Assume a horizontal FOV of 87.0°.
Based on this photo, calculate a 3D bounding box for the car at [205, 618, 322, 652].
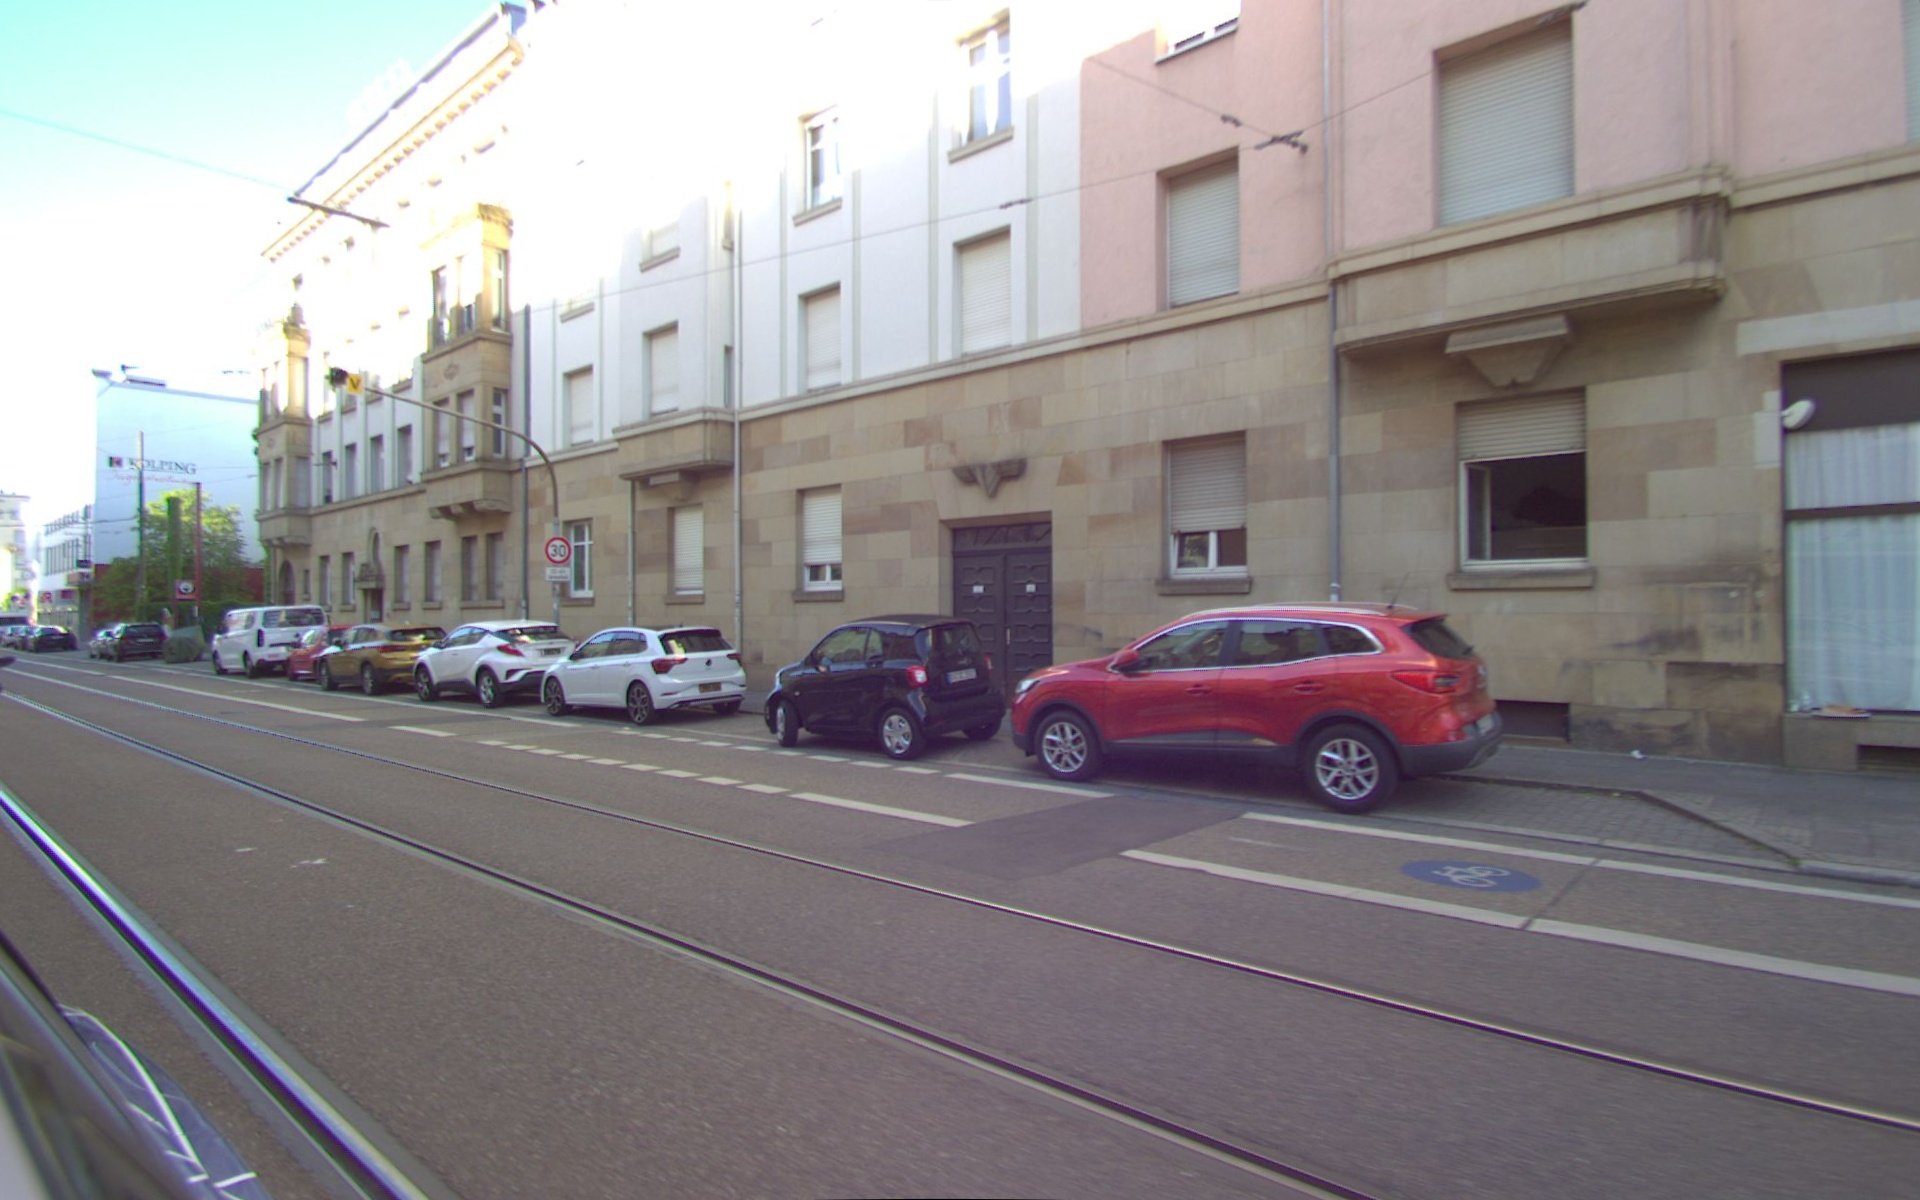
[{"bbox_3d":[-33.720,1.672,49.182,1.977,1.529,4.785,-1,-1,8],"label":"car"}]

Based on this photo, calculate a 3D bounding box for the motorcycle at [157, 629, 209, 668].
[{"bbox_3d":[-28.909,1.797,37.673,0.871,1.361,1.963,-1,-1,-16],"label":"motorcycle"}]

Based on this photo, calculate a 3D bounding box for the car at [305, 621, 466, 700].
[{"bbox_3d":[-13.040,1.293,22.861,4.357,1.535,1.765,-1,0,41],"label":"car"}]

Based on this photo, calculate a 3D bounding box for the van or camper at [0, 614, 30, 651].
[{"bbox_3d":[-68.540,2.321,72.424,6.228,2.486,2.149,-1,0,41],"label":"van or camper"}]

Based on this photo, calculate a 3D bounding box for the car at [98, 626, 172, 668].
[{"bbox_3d":[-34.064,1.882,41.725,4.611,1.577,1.764,-1,1,44],"label":"car"}]

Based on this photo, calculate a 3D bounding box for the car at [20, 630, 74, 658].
[{"bbox_3d":[-52.204,2.466,57.849,4.840,1.456,1.764,-1,0,42],"label":"car"}]

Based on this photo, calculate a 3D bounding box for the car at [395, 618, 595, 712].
[{"bbox_3d":[-9.028,1.173,19.499,4.361,1.558,1.754,-1,0,40],"label":"car"}]

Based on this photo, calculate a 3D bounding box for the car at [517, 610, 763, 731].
[{"bbox_3d":[-5.222,1.041,16.284,4.175,1.634,1.765,-1,0,40],"label":"car"}]

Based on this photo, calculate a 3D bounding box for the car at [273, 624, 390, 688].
[{"bbox_3d":[-16.369,1.404,26.307,3.645,1.484,1.586,-1,0,42],"label":"car"}]

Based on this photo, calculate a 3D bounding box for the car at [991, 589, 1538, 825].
[{"bbox_3d":[2.563,0.783,9.160,4.393,1.618,1.765,-1,0,40],"label":"car"}]

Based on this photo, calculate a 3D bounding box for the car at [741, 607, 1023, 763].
[{"bbox_3d":[-0.985,0.913,12.193,3.018,1.564,1.764,-1,0,41],"label":"car"}]

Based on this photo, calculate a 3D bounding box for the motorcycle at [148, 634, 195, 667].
[{"bbox_3d":[-30.336,1.916,38.980,0.729,1.180,2.187,-1,-1,-19],"label":"motorcycle"}]

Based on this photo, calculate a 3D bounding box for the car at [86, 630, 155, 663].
[{"bbox_3d":[-37.810,2.060,45.542,4.219,1.324,1.764,-1,1,42],"label":"car"}]

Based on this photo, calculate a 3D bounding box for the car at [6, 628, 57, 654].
[{"bbox_3d":[-56.567,2.473,61.646,4.697,1.492,1.765,-1,0,41],"label":"car"}]

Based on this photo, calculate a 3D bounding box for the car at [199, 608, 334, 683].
[{"bbox_3d":[-20.363,1.271,29.624,5.248,1.963,1.953,-1,0,41],"label":"car"}]

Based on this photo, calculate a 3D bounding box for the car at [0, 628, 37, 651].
[{"bbox_3d":[-63.235,2.622,67.743,4.445,1.409,1.764,-1,1,43],"label":"car"}]
